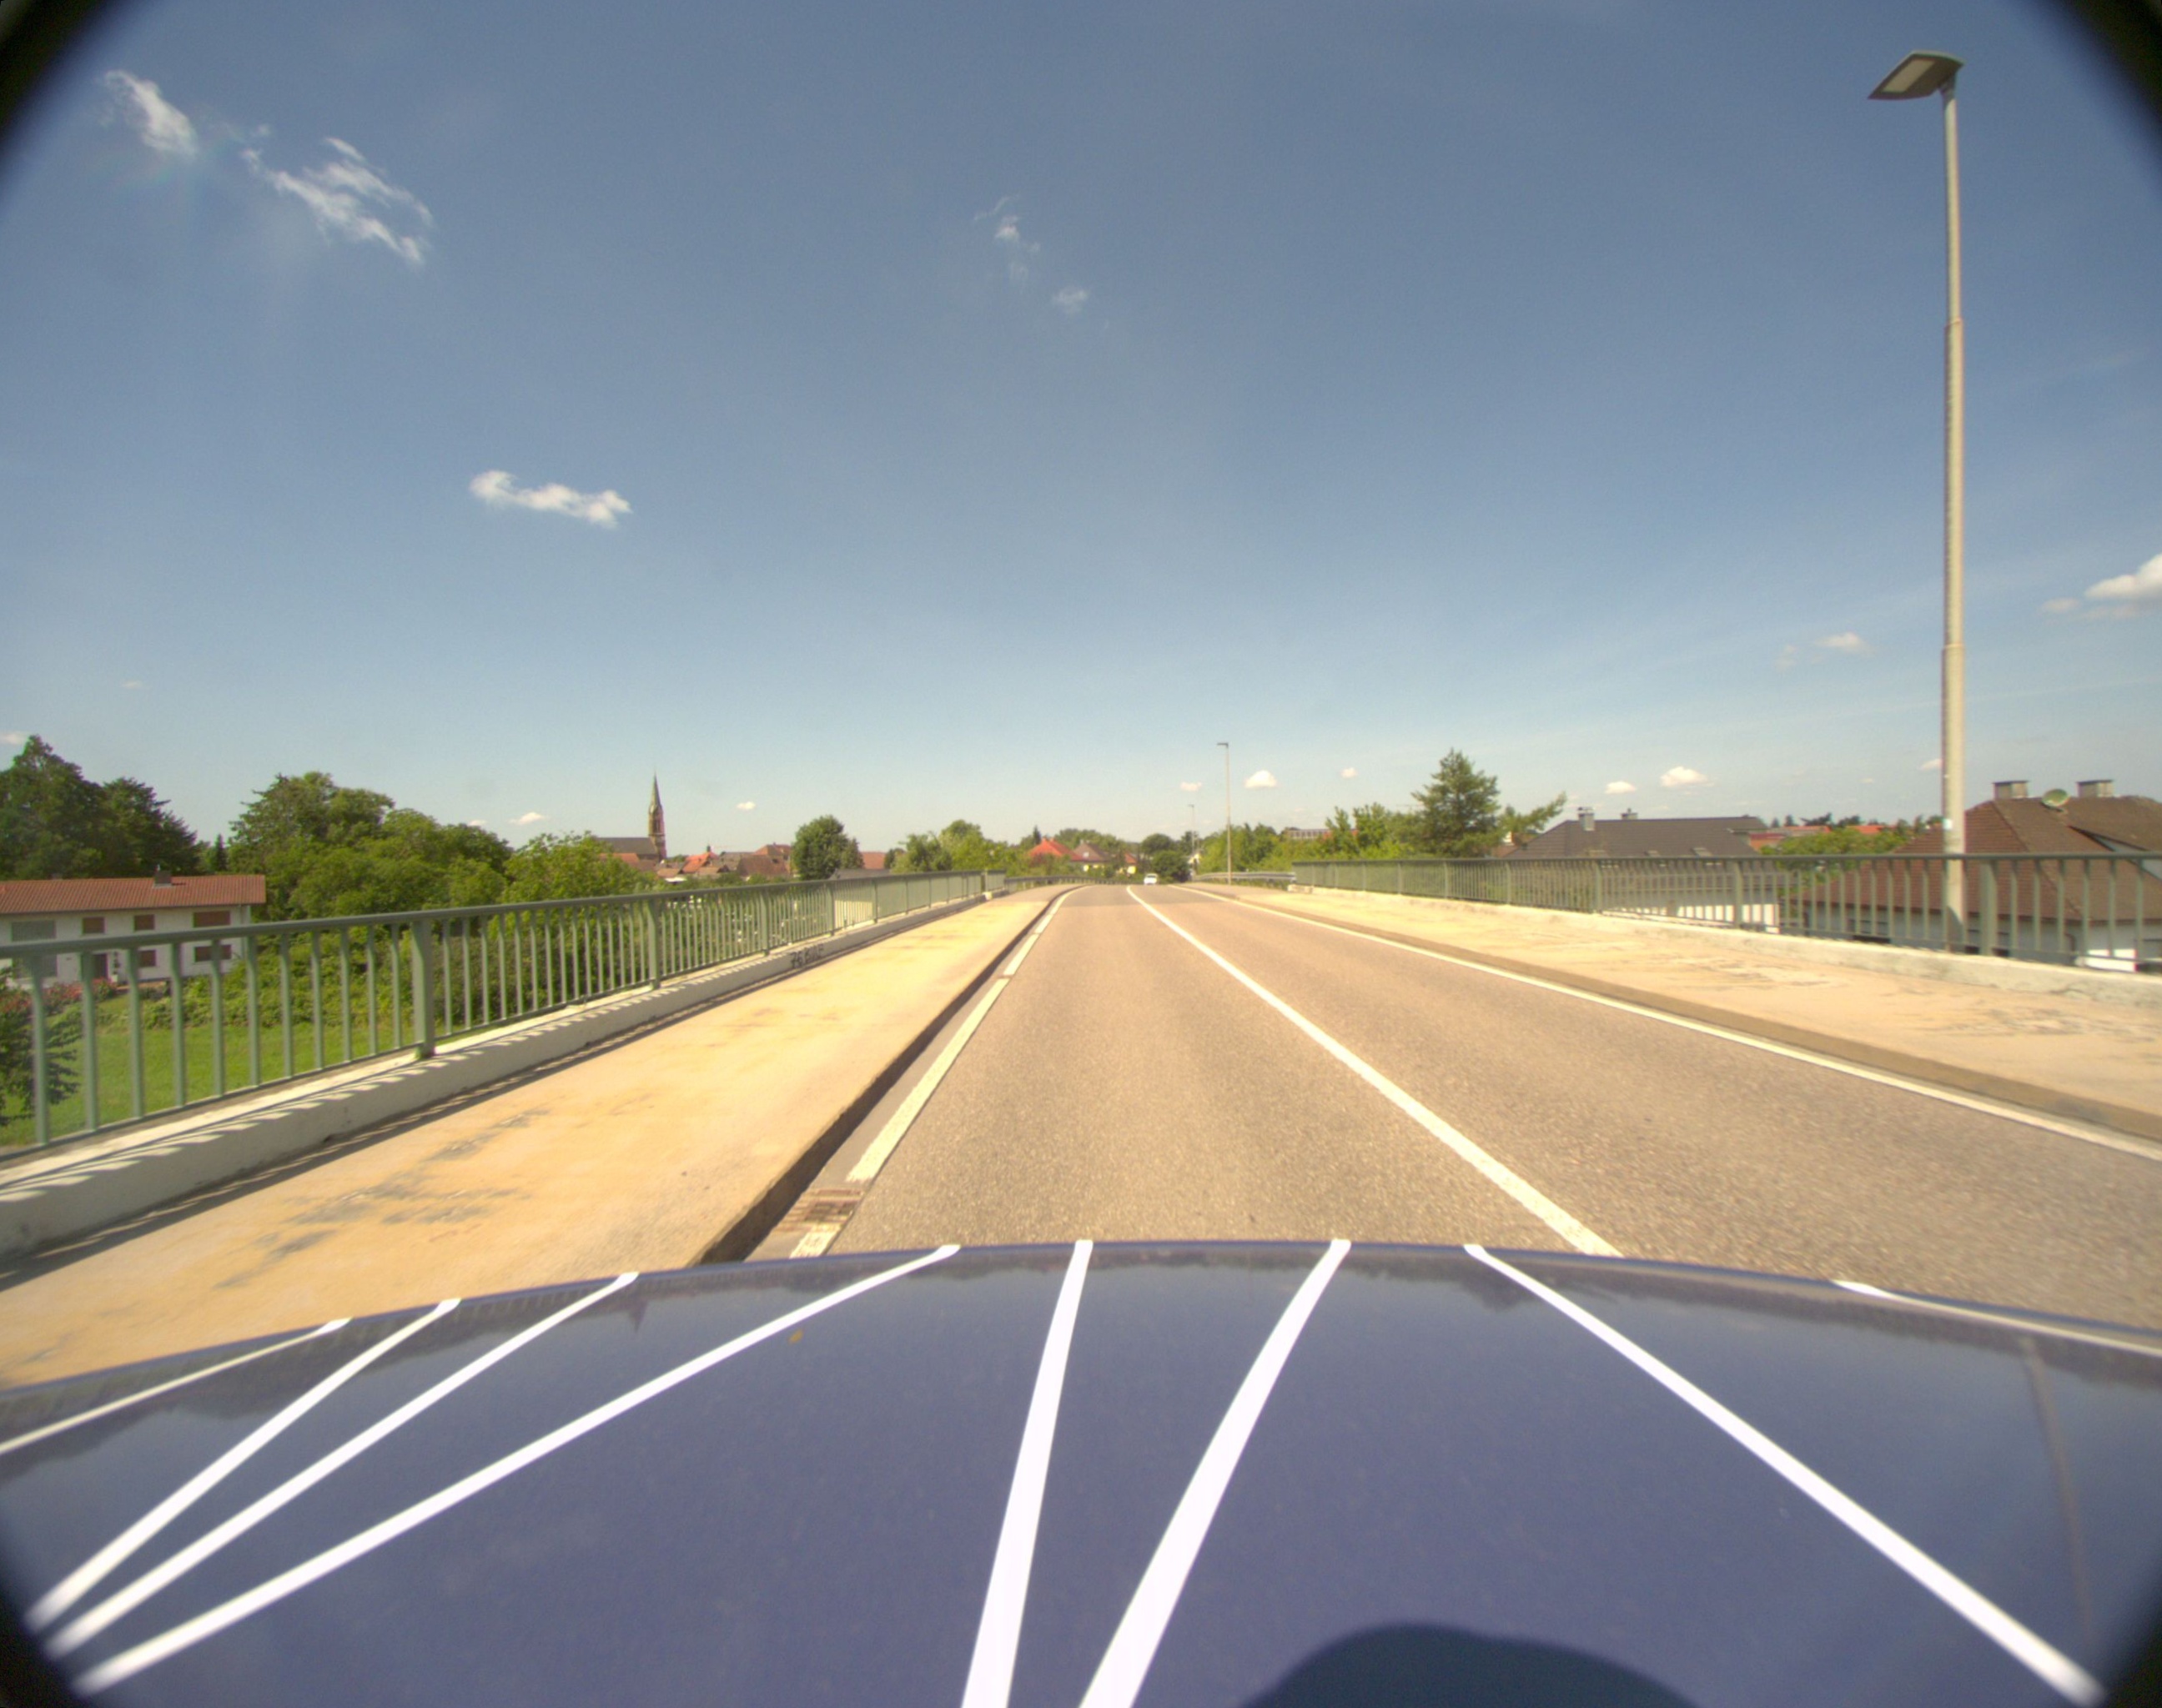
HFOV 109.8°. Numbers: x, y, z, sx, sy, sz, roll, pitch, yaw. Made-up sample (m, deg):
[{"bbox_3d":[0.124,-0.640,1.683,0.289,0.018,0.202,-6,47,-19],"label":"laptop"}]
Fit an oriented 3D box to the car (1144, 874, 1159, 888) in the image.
[{"bbox_3d":[10.606,4.015,114.363,2.092,1.751,4.282,-3,1,3],"label":"car"}]
